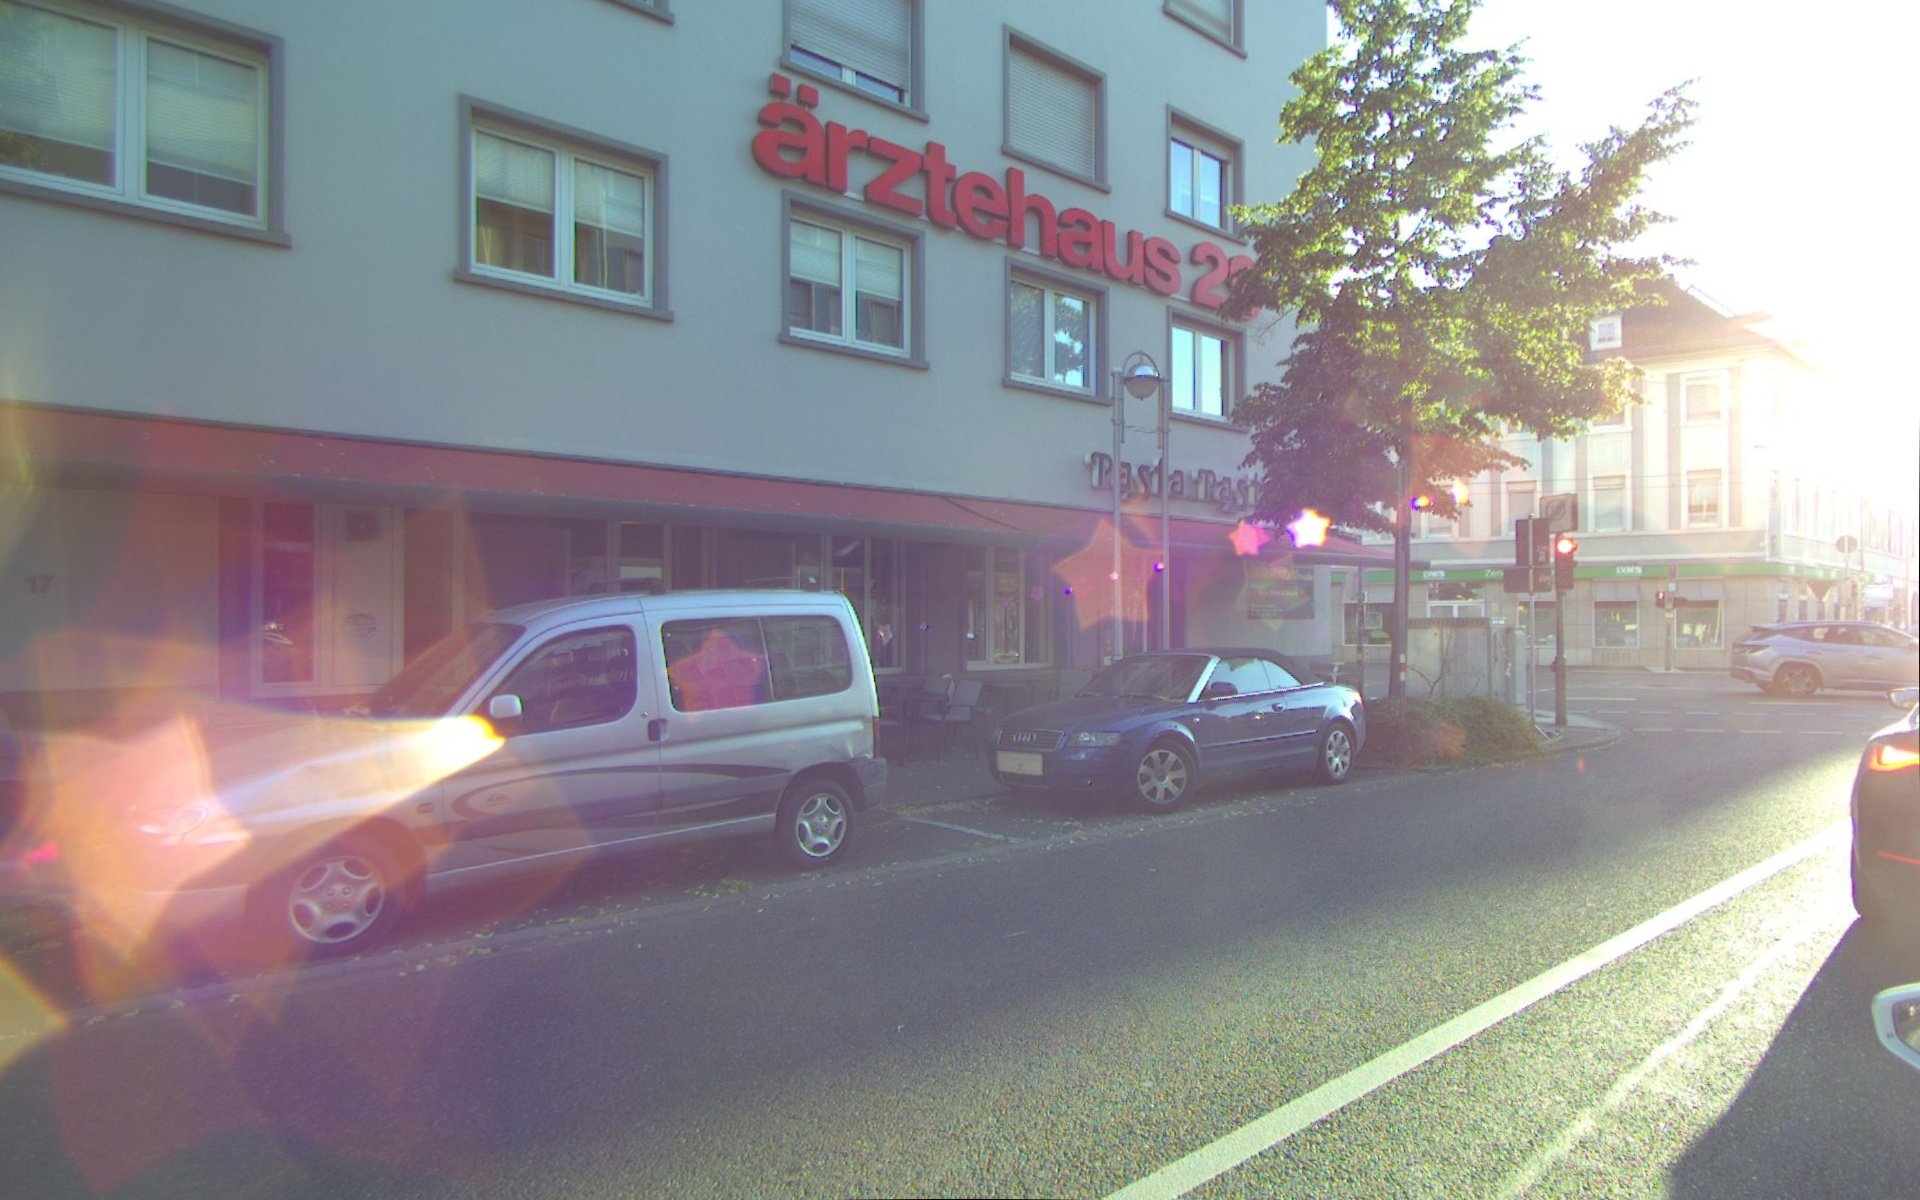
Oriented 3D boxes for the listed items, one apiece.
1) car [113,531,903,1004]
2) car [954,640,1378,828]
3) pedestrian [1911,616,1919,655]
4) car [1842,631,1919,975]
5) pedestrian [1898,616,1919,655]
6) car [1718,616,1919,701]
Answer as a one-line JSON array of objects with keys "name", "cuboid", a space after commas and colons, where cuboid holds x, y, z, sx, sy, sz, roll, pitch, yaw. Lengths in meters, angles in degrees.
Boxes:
[{"name": "car", "cuboid": [-2.440, 0.762, 6.042, 4.022, 1.912, 1.655, 2, -4, -41]}, {"name": "car", "cuboid": [2.123, 1.123, 9.699, 4.244, 1.434, 1.710, 2, -4, -39]}, {"name": "pedestrian", "cuboid": [47.070, 1.741, 49.230, 0.673, 1.901, 0.610, 1, 0, -42]}, {"name": "car", "cuboid": [6.064, 0.902, 5.110, 4.188, 1.447, 1.723, 1, -1, -39]}, {"name": "pedestrian", "cuboid": [46.085, 1.718, 48.798, 0.626, 1.901, 0.638, 1, 0, -38]}, {"name": "car", "cuboid": [19.194, 1.217, 21.706, 4.212, 1.730, 1.803, 0, -1, 27]}]
